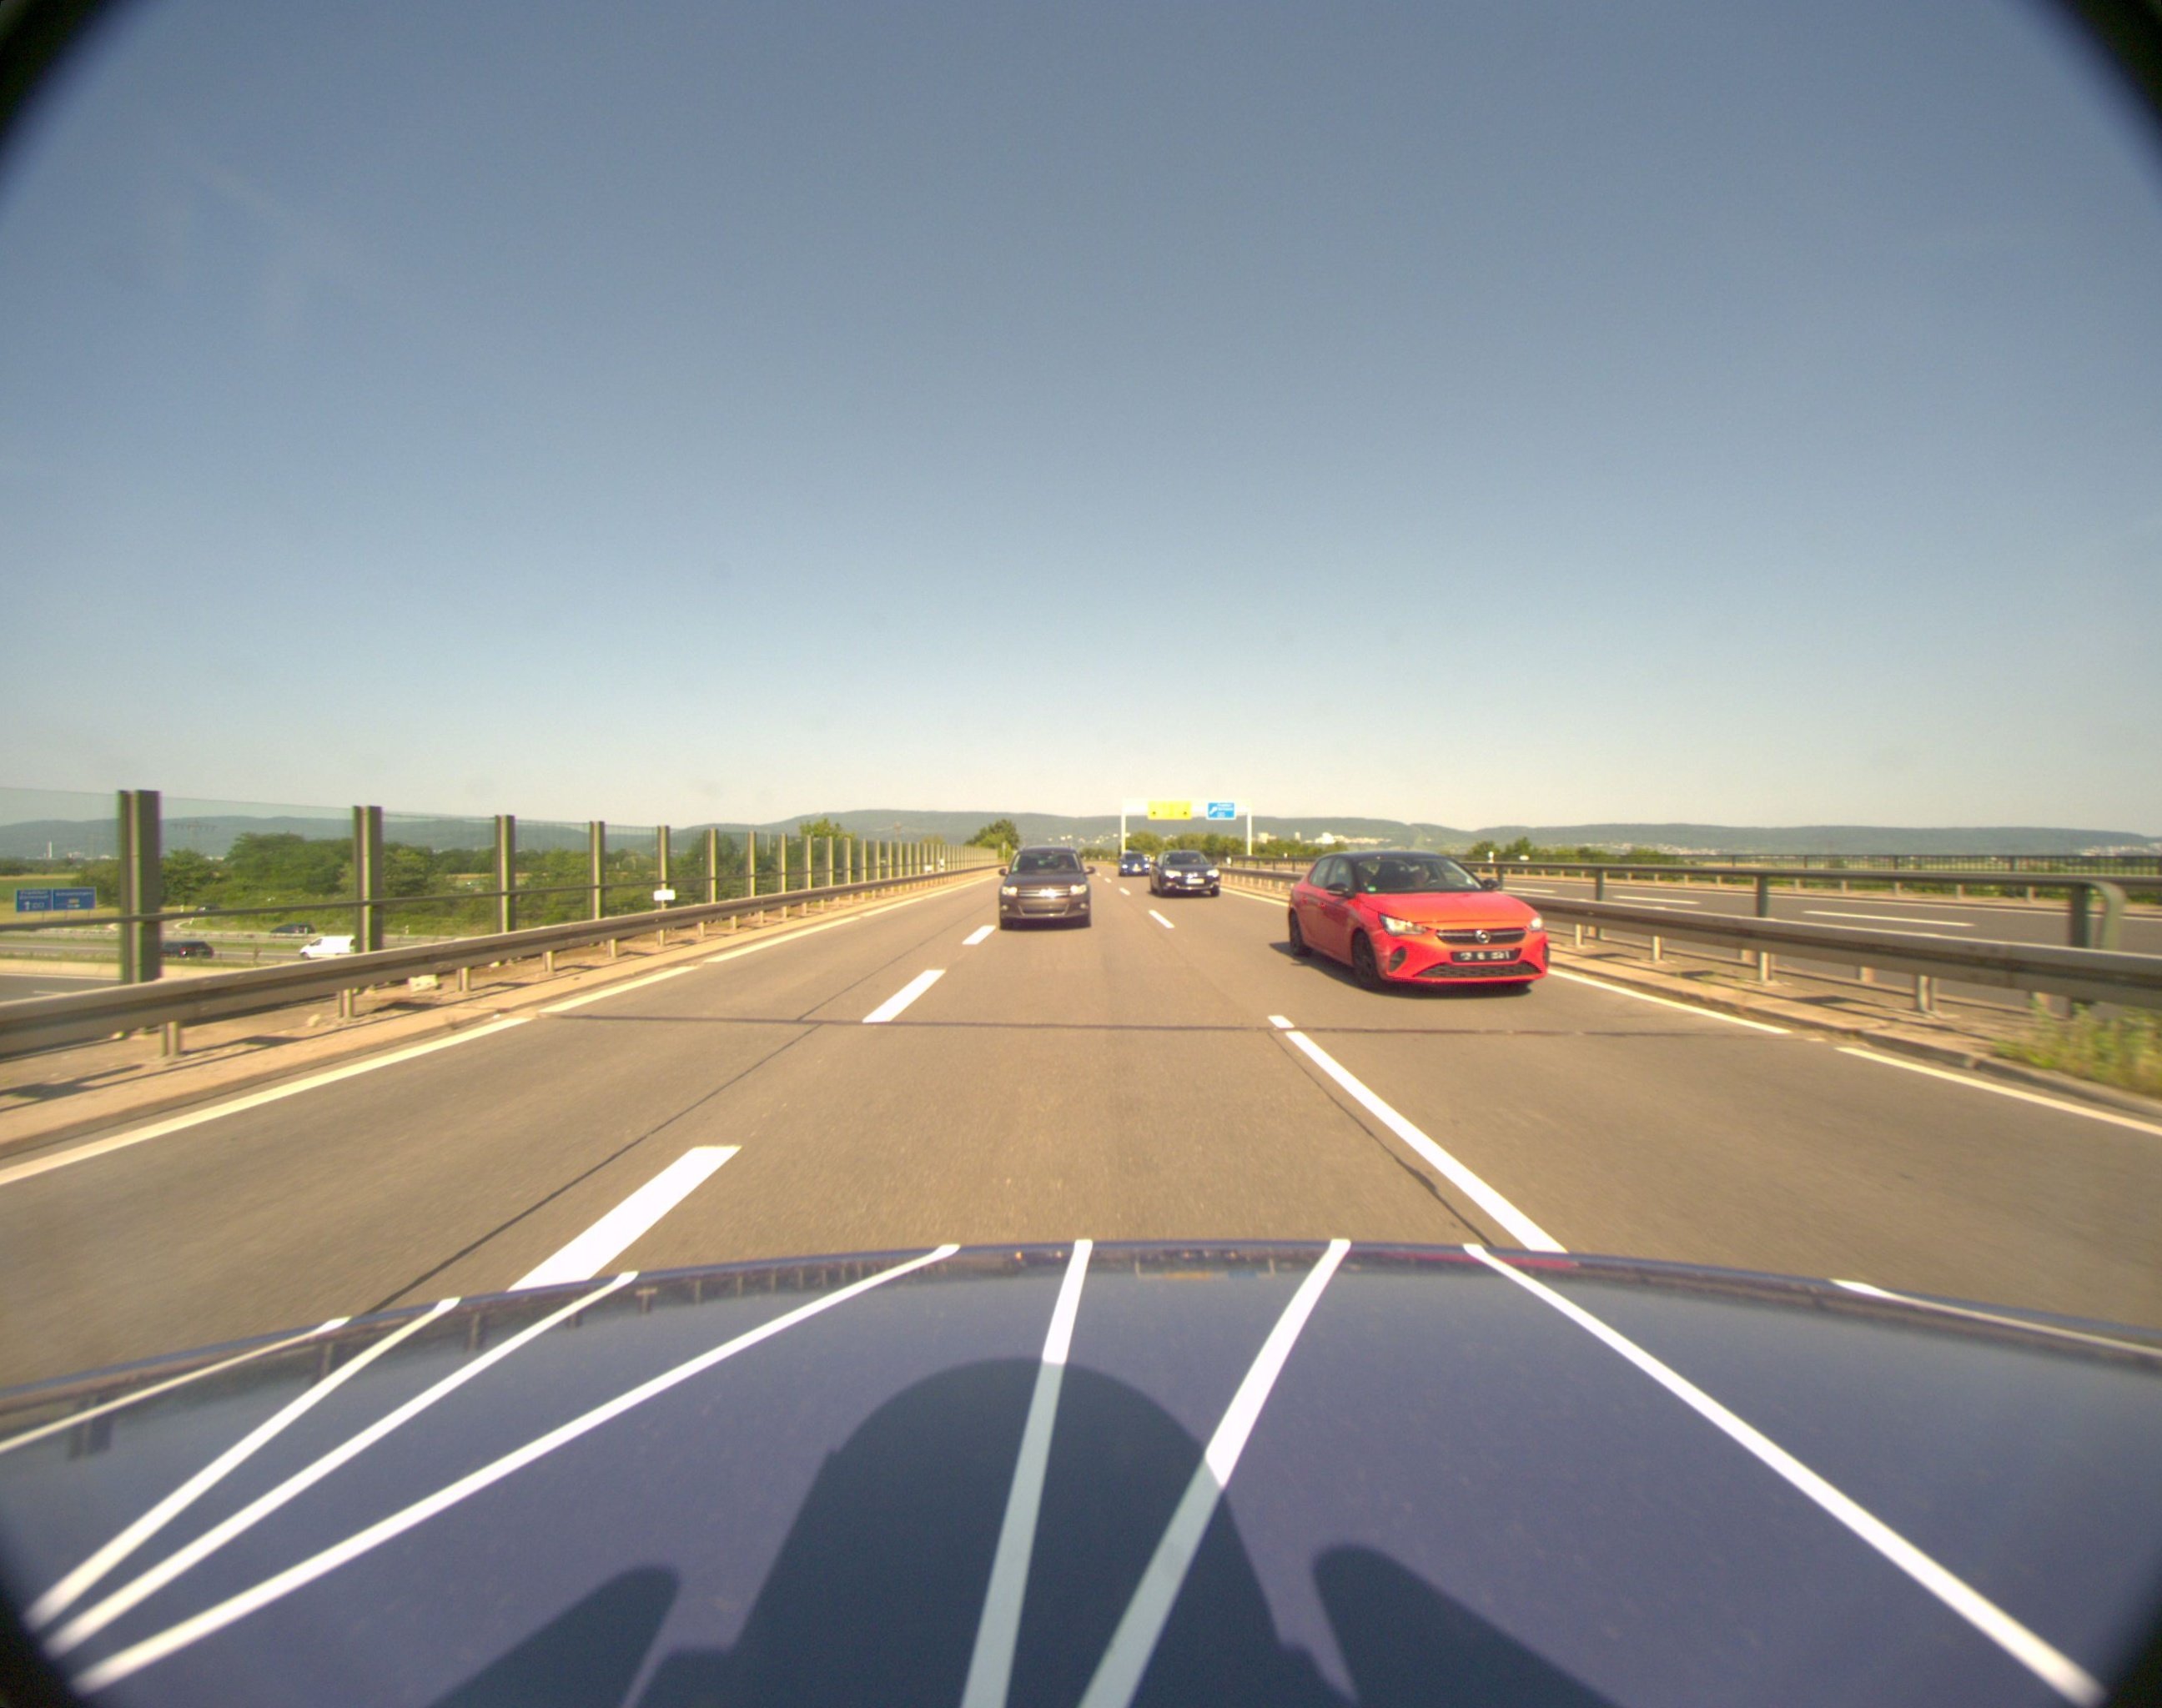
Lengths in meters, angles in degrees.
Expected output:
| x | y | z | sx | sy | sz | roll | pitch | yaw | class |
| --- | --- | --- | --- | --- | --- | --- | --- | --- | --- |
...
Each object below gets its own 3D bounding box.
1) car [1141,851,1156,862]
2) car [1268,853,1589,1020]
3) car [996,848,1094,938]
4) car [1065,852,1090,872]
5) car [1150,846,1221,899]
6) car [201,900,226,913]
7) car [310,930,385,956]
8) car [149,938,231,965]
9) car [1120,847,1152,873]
| x | y | z | sx | sy | sz | roll | pitch | yaw | class |
| --- | --- | --- | --- | --- | --- | --- | --- | --- | --- |
| 9.139 | 0.261 | 102.963 | 1.556 | 1.408 | 3.668 | -2 | 0 | -2 | car |
| 3.630 | 0.727 | 8.943 | 1.713 | 1.428 | 4.411 | -2 | 0 | 0 | car |
| -0.668 | 0.720 | 16.270 | 1.790 | 1.637 | 4.147 | -2 | 0 | 0 | car |
| -0.208 | 0.538 | 52.262 | 1.600 | 1.241 | 4.000 | -2 | 0 | 0 | car |
| 3.289 | 0.535 | 24.709 | 1.788 | 1.524 | 4.375 | -2 | 1 | 1 | car |
| -132.311 | 7.973 | 115.899 | 1.855 | 1.674 | 3.989 | -3 | 1 | -40 | car |
| -56.498 | 6.883 | 58.555 | 4.255 | 1.696 | 2.001 | -2 | 1 | 10 | car |
| -66.133 | 7.250 | 56.400 | 4.255 | 1.696 | 2.001 | -2 | 1 | 10 | car |
| 3.305 | 0.352 | 46.322 | 1.651 | 1.403 | 3.775 | -2 | 1 | 1 | car |
